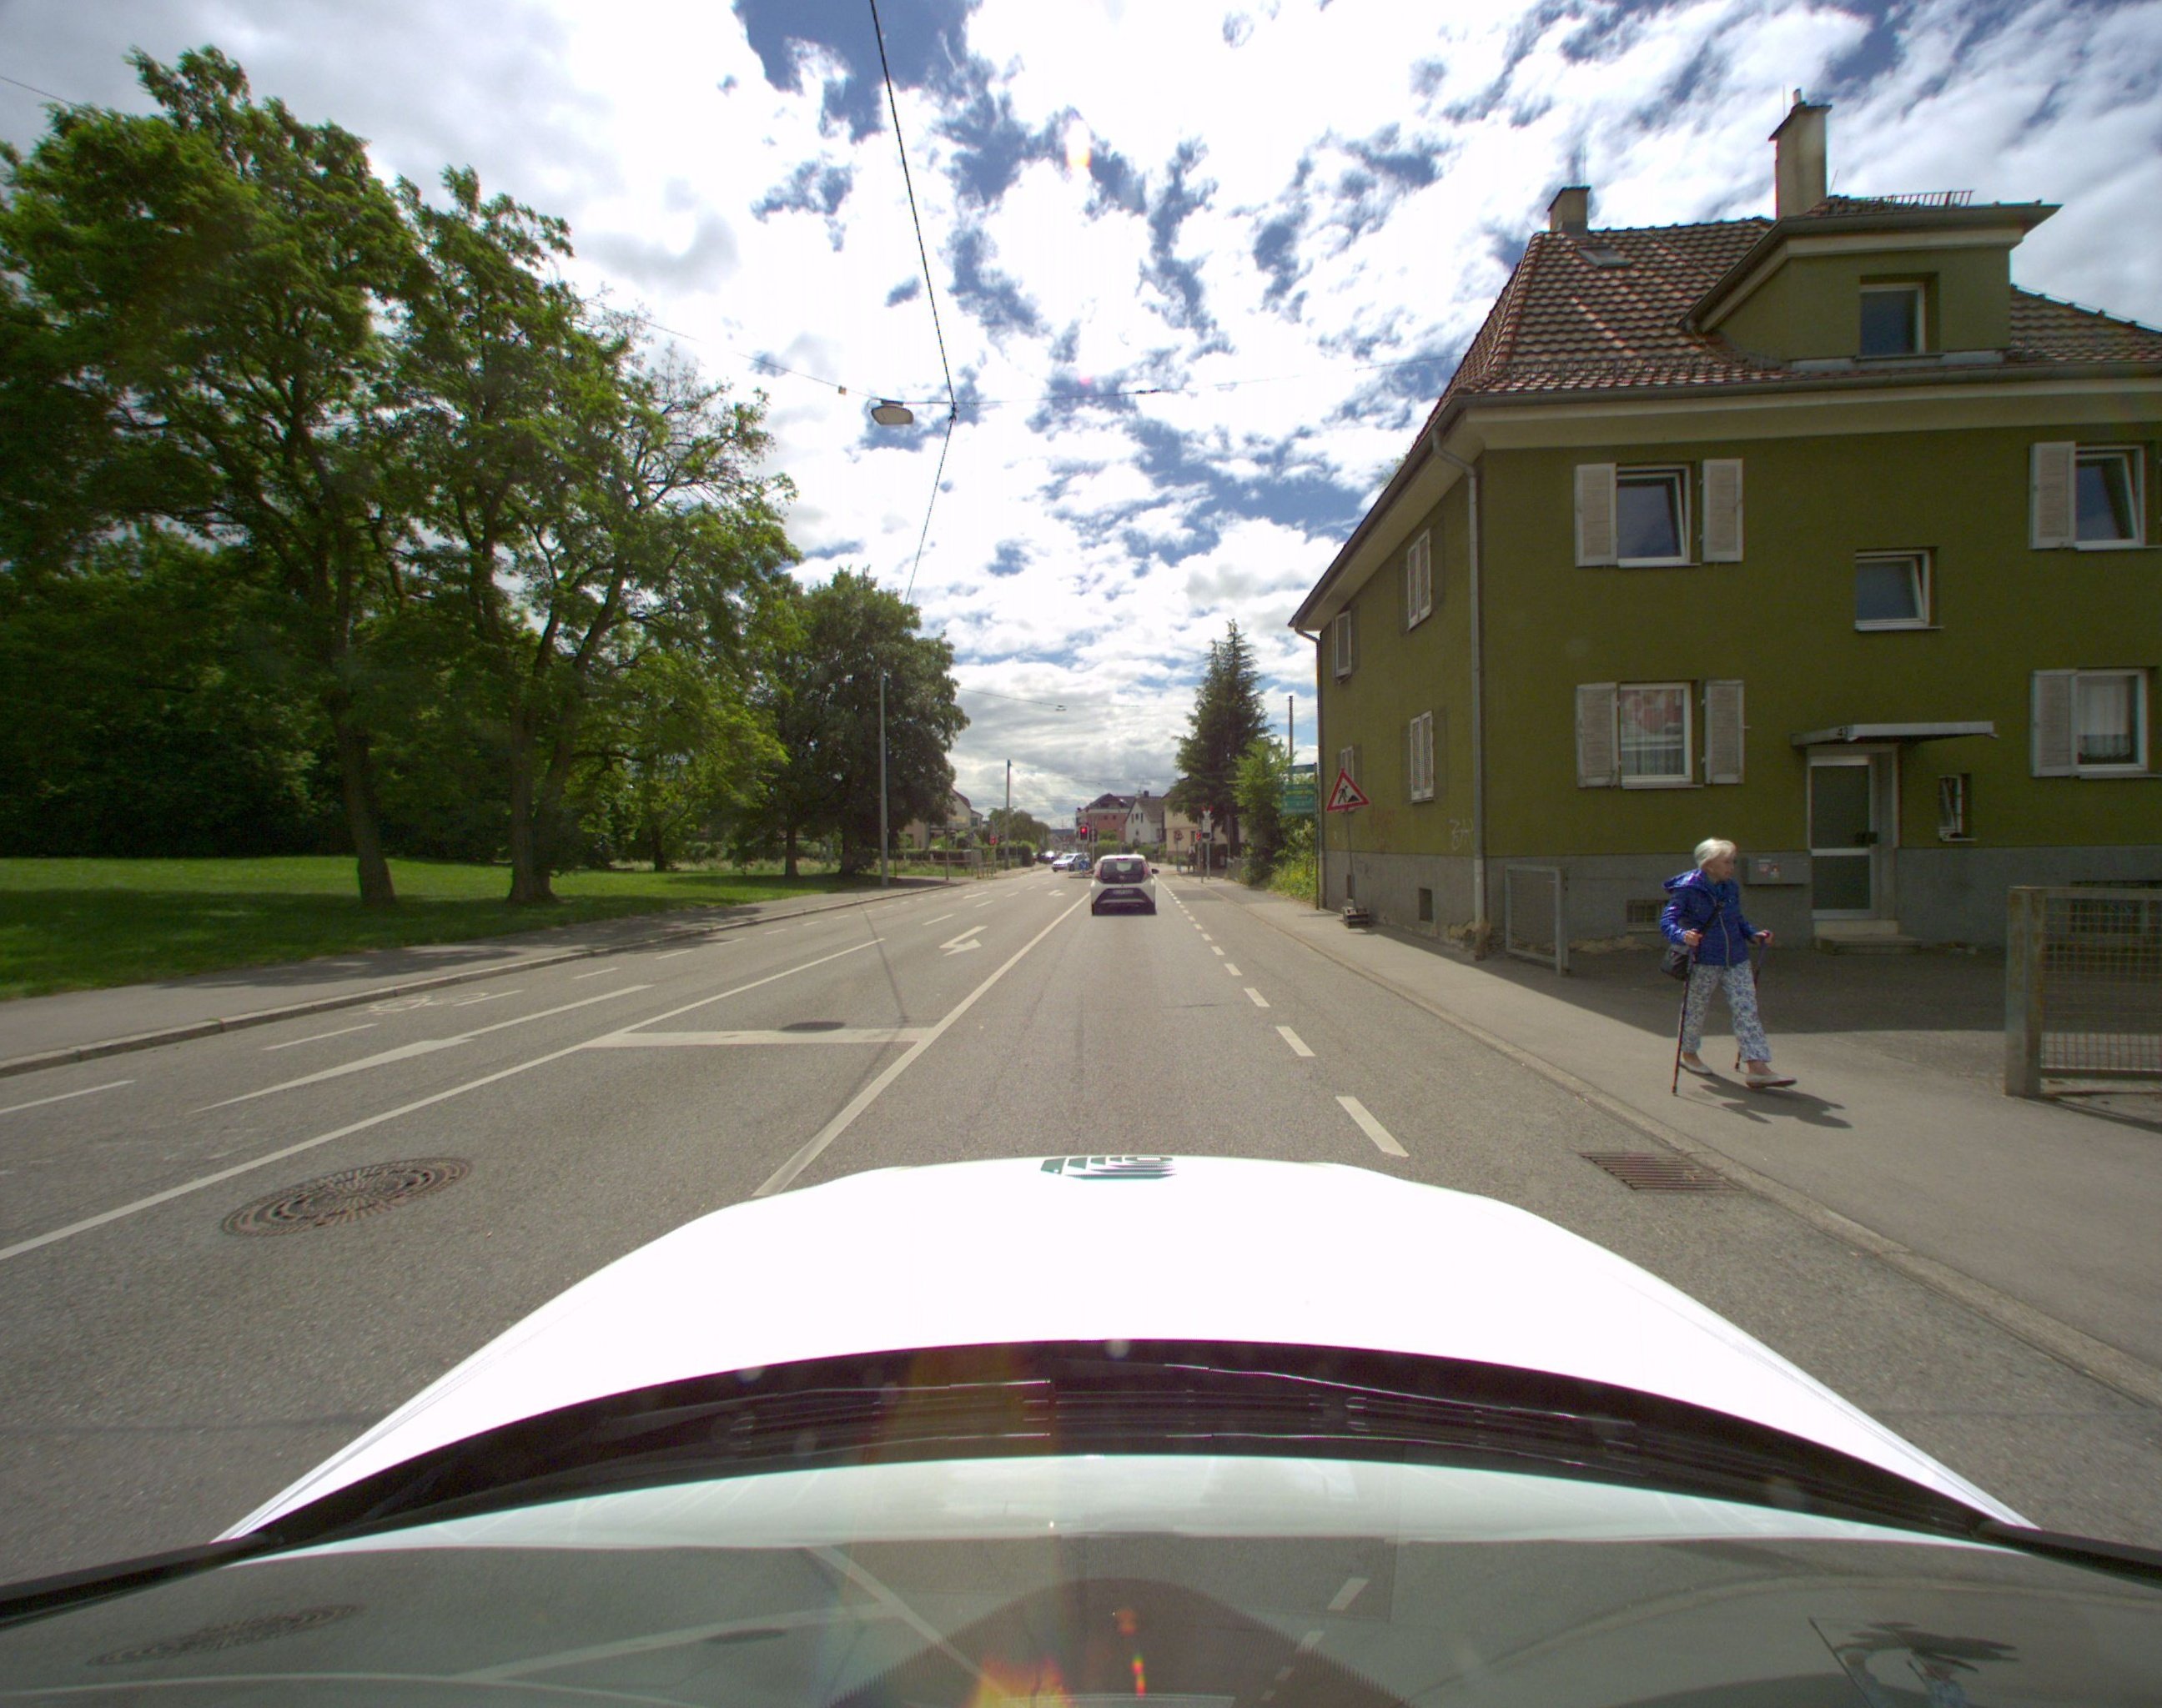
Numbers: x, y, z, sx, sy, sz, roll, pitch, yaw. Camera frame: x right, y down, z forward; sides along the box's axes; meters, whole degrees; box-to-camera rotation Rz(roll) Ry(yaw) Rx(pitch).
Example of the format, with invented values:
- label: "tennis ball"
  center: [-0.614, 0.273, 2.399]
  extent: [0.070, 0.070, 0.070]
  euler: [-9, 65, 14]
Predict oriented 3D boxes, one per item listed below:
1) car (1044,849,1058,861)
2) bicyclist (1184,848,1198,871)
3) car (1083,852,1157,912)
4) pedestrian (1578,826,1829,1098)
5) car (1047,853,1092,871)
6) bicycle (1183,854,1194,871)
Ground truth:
- label: "car"
  center: [-4.339, 0.197, 119.360]
  extent: [1.989, 1.719, 3.996]
  euler: [0, 0, -2]
- label: "bicyclist"
  center: [7.991, 0.393, 59.267]
  extent: [0.838, 1.553, 0.756]
  euler: [-4, 2, -2]
- label: "car"
  center: [1.119, 0.678, 21.493]
  extent: [1.712, 1.442, 3.715]
  euler: [0, 0, 6]
- label: "pedestrian"
  center: [3.982, 0.636, 5.303]
  extent: [0.821, 1.572, 0.987]
  euler: [-2, 0, -1]
- label: "car"
  center: [-0.916, 0.637, 68.047]
  extent: [1.887, 1.441, 4.124]
  euler: [0, 0, 32]
- label: "bicycle"
  center: [7.833, 0.594, 59.334]
  extent: [0.456, 1.172, 1.478]
  euler: [-4, 2, -2]
